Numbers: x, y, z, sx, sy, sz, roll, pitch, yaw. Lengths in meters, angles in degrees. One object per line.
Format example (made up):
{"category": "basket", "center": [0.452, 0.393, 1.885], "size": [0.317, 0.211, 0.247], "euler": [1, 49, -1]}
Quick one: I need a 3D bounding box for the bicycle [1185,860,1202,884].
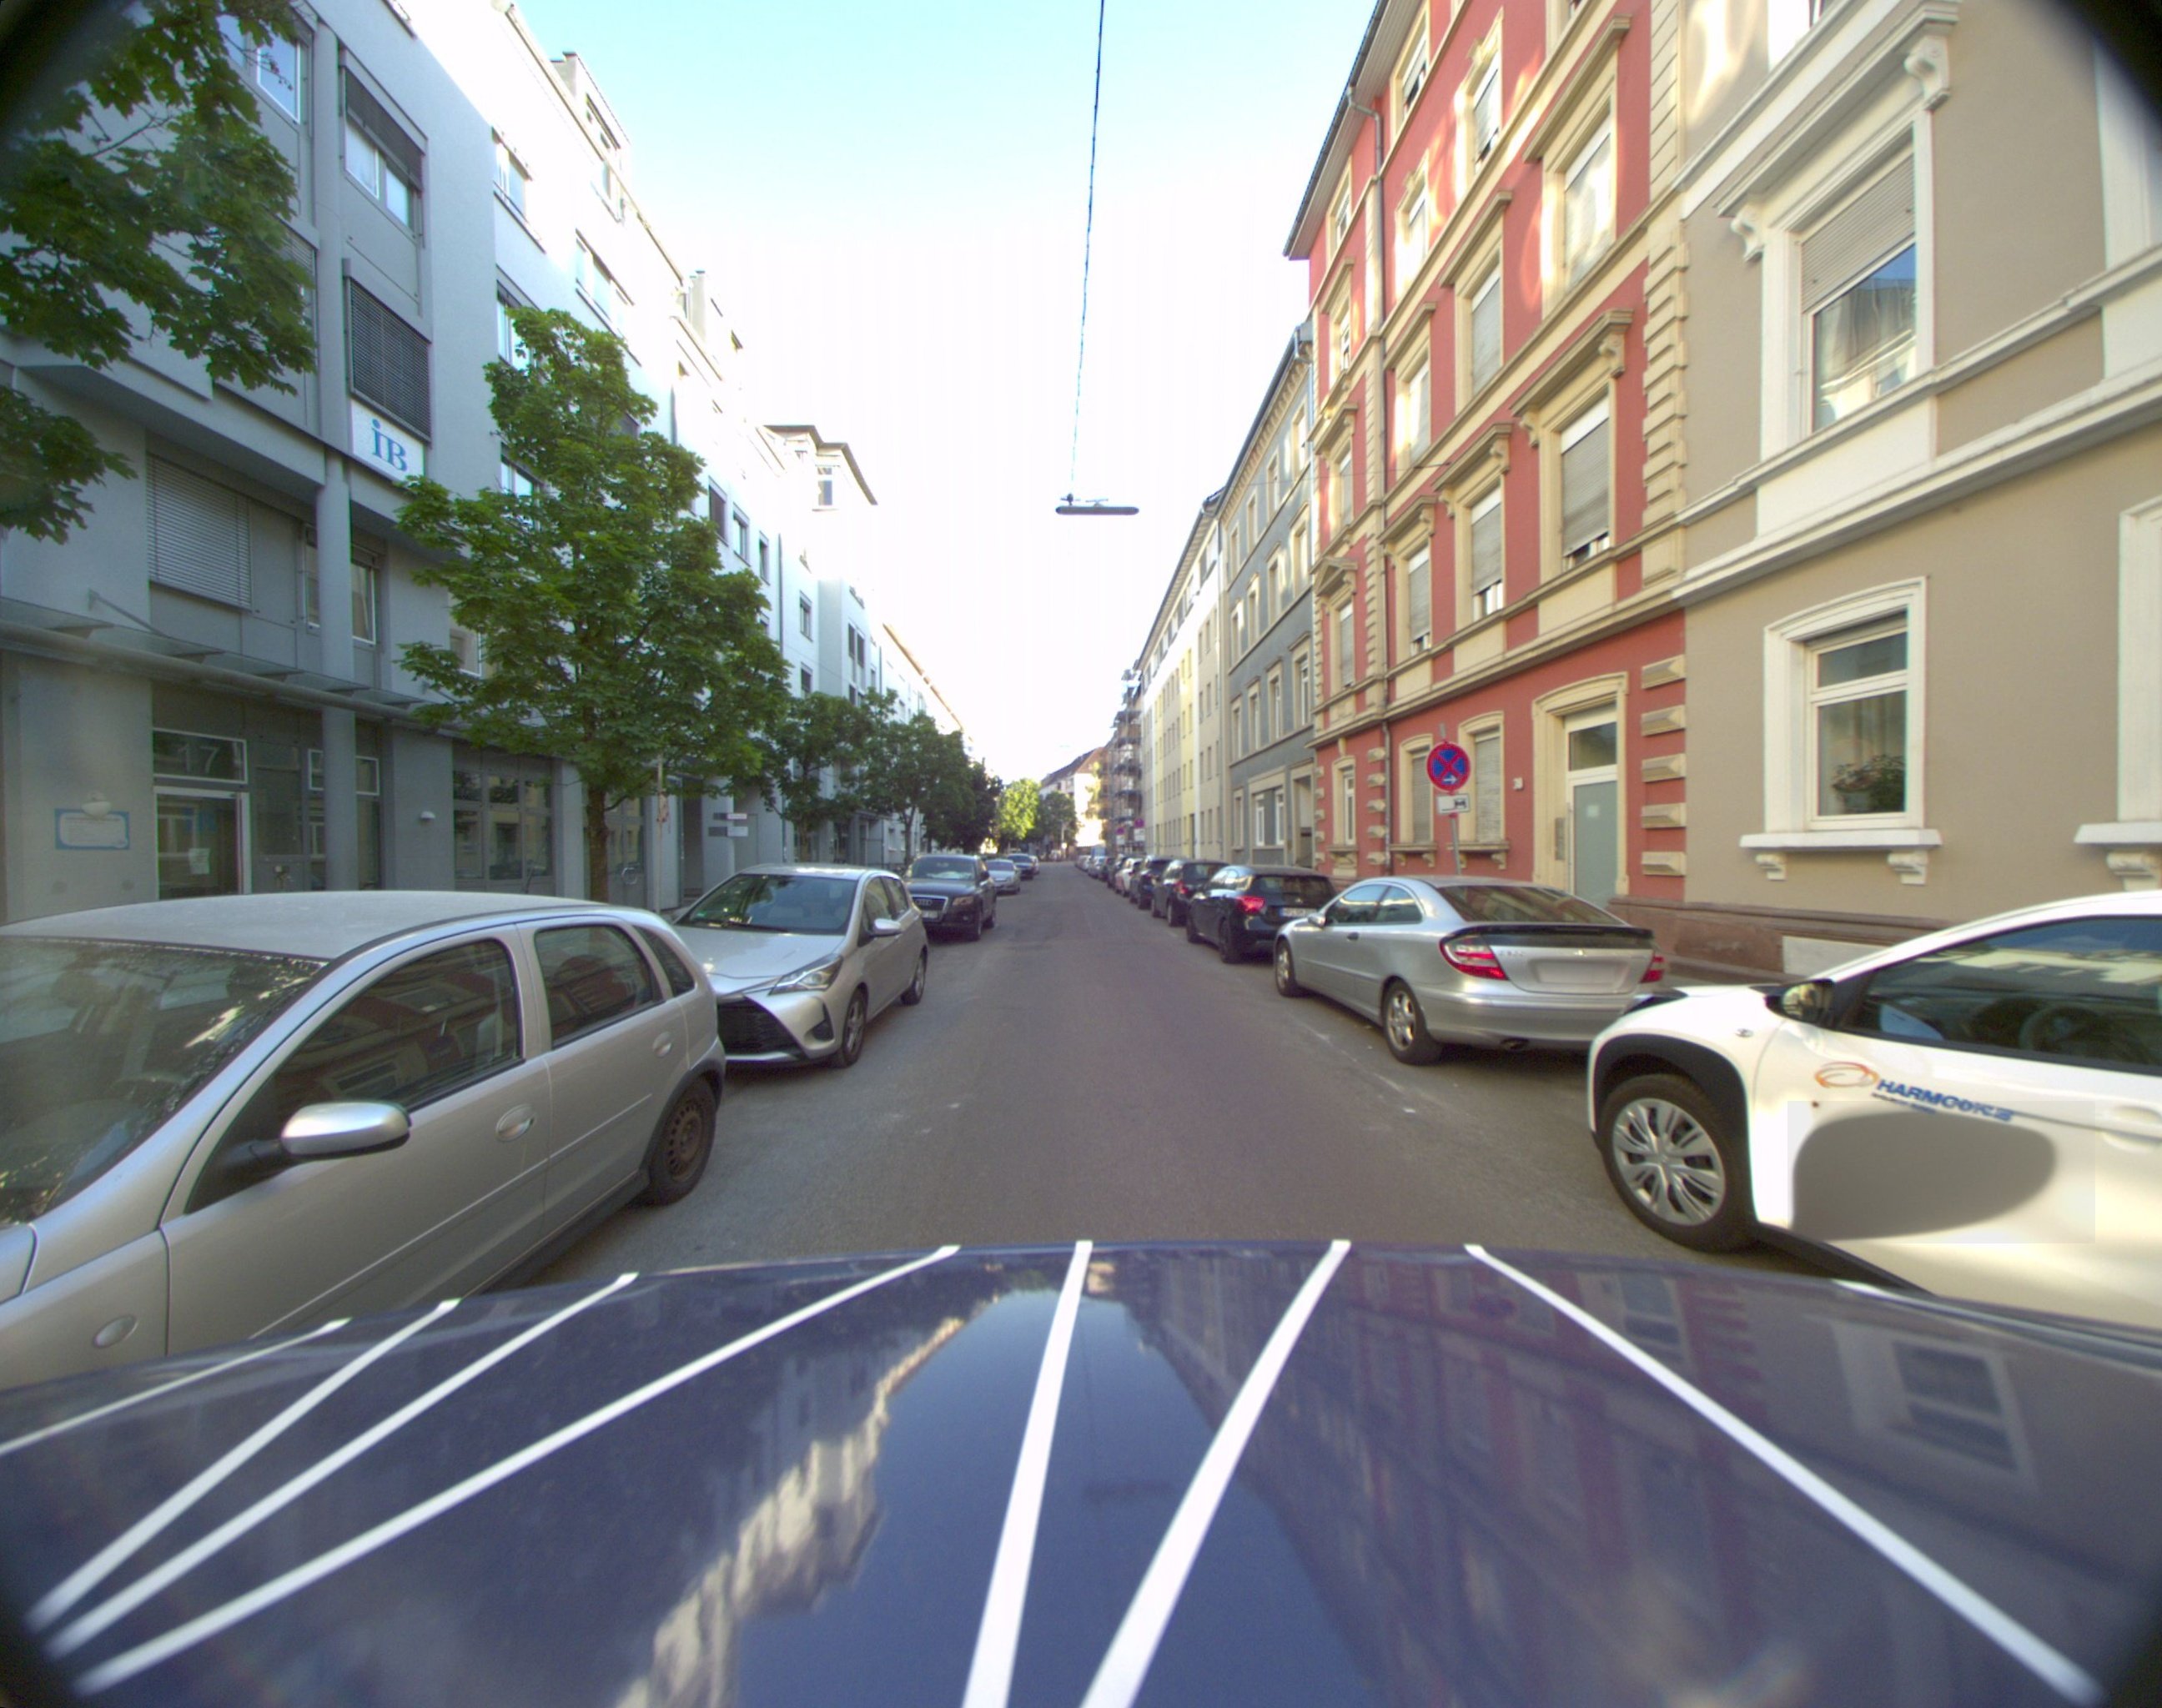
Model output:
{"category": "bicycle", "center": [5.269, 0.838, 35.602], "size": [0.451, 1.068, 1.751], "euler": [-2, 1, -1]}

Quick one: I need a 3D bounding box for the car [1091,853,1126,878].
{"category": "car", "center": [1.732, 0.708, 49.208], "size": [1.928, 1.480, 4.616], "euler": [1, 0, -2]}

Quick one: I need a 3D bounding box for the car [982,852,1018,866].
{"category": "car", "center": [-9.323, 0.532, 87.849], "size": [3.998, 1.556, 1.999], "euler": [1, 1, -4]}

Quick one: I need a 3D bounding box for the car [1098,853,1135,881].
{"category": "car", "center": [2.027, 0.733, 44.360], "size": [1.784, 1.480, 4.419], "euler": [1, 0, -2]}

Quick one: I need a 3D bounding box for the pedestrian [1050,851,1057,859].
{"category": "pedestrian", "center": [-4.582, 0.151, 127.961], "size": [0.868, 1.455, 0.804], "euler": [2, 1, 45]}

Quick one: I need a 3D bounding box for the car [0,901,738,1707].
{"category": "car", "center": [-2.604, 0.995, 1.956], "size": [1.680, 1.467, 3.729], "euler": [1, 0, 1]}

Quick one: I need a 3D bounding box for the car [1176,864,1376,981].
{"category": "car", "center": [2.868, 0.937, 12.236], "size": [1.926, 1.475, 4.266], "euler": [1, 0, -3]}

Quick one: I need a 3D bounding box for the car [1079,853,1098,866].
{"category": "car", "center": [0.841, 0.604, 89.247], "size": [1.999, 1.423, 3.998], "euler": [1, 0, -3]}

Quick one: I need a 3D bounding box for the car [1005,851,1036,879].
{"category": "car", "center": [-3.834, 0.662, 48.816], "size": [1.876, 1.626, 4.720], "euler": [1, 0, -3]}

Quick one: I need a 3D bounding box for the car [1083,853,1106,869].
{"category": "car", "center": [1.282, 0.644, 73.849], "size": [1.999, 1.439, 3.998], "euler": [1, 0, -3]}

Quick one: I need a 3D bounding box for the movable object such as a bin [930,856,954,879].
{"category": "movable object such as a bin", "center": [-8.243, 0.785, 45.075], "size": [1.265, 1.313, 1.138], "euler": [0, 1, -2]}

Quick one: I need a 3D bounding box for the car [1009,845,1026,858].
{"category": "car", "center": [-11.739, -0.435, 140.135], "size": [2.163, 2.270, 6.199], "euler": [1, 0, -15]}

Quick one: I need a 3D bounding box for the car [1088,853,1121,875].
{"category": "car", "center": [1.660, 0.697, 54.576], "size": [1.928, 1.480, 4.615], "euler": [1, 0, -3]}

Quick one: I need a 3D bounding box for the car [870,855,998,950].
{"category": "car", "center": [-2.846, 0.863, 15.675], "size": [1.890, 1.613, 4.433], "euler": [1, 0, -2]}

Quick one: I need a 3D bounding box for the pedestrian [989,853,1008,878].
{"category": "pedestrian", "center": [-5.024, 0.690, 46.226], "size": [0.868, 1.455, 0.804], "euler": [2, 1, 44]}

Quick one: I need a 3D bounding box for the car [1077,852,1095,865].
{"category": "car", "center": [0.596, 0.556, 95.150], "size": [1.999, 1.462, 3.998], "euler": [1, 0, -3]}

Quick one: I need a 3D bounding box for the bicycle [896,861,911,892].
{"category": "bicycle", "center": [-7.068, 0.887, 30.319], "size": [0.522, 1.161, 1.738], "euler": [1, 1, -12]}

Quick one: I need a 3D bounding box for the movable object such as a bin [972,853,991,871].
{"category": "movable object such as a bin", "center": [-7.793, 0.633, 59.533], "size": [1.288, 1.428, 1.223], "euler": [0, 1, -2]}

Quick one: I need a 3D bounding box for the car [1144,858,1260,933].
{"category": "car", "center": [2.739, 0.891, 18.209], "size": [1.906, 1.551, 4.239], "euler": [1, 0, -3]}

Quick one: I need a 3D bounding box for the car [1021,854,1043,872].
{"category": "car", "center": [-4.116, 0.756, 64.368], "size": [1.681, 1.411, 4.135], "euler": [1, 0, -2]}

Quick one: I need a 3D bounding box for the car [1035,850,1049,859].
{"category": "car", "center": [-7.599, 0.031, 147.626], "size": [2.082, 1.760, 4.214], "euler": [1, 0, -10]}

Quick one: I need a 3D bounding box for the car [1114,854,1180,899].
{"category": "car", "center": [2.419, 0.806, 28.925], "size": [1.926, 1.551, 4.266], "euler": [1, 0, -3]}

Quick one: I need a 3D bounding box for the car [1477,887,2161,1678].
{"category": "car", "center": [3.166, 0.944, 2.041], "size": [1.925, 1.498, 4.267], "euler": [1, 0, 0]}

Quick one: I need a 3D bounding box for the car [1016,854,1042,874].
{"category": "car", "center": [-4.015, 0.779, 59.419], "size": [1.680, 1.474, 3.652], "euler": [1, 0, 1]}

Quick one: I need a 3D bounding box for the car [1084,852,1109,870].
{"category": "car", "center": [1.365, 0.628, 69.021], "size": [1.999, 1.496, 3.998], "euler": [1, 0, -3]}

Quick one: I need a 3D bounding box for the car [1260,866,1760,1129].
{"category": "car", "center": [3.175, 0.929, 6.842], "size": [1.926, 1.551, 4.266], "euler": [1, 0, -3]}

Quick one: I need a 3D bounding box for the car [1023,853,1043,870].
{"category": "car", "center": [-4.423, 0.668, 70.549], "size": [1.681, 1.411, 4.134], "euler": [1, 0, -2]}

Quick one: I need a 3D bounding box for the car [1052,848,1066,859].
{"category": "car", "center": [-3.839, -0.124, 131.738], "size": [2.081, 1.760, 4.214], "euler": [1, 0, -8]}

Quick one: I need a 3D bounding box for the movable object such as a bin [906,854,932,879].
{"category": "movable object such as a bin", "center": [-9.541, 0.725, 44.783], "size": [1.265, 1.428, 1.138], "euler": [0, 1, -2]}

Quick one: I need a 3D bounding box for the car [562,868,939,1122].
{"category": "car", "center": [-2.491, 0.948, 6.862], "size": [1.681, 1.516, 3.970], "euler": [1, 0, 0]}

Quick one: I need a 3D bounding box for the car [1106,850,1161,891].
{"category": "car", "center": [2.290, 0.699, 34.302], "size": [1.926, 1.654, 4.468], "euler": [1, 0, -3]}

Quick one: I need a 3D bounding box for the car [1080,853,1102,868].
{"category": "car", "center": [1.034, 0.653, 79.158], "size": [1.999, 1.423, 3.998], "euler": [1, 0, -3]}

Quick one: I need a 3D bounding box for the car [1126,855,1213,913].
{"category": "car", "center": [2.550, 0.826, 23.024], "size": [1.926, 1.551, 4.266], "euler": [1, 0, -3]}

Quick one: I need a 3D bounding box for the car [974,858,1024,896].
{"category": "car", "center": [-3.392, 0.912, 32.146], "size": [1.768, 1.421, 4.343], "euler": [1, 0, -2]}
